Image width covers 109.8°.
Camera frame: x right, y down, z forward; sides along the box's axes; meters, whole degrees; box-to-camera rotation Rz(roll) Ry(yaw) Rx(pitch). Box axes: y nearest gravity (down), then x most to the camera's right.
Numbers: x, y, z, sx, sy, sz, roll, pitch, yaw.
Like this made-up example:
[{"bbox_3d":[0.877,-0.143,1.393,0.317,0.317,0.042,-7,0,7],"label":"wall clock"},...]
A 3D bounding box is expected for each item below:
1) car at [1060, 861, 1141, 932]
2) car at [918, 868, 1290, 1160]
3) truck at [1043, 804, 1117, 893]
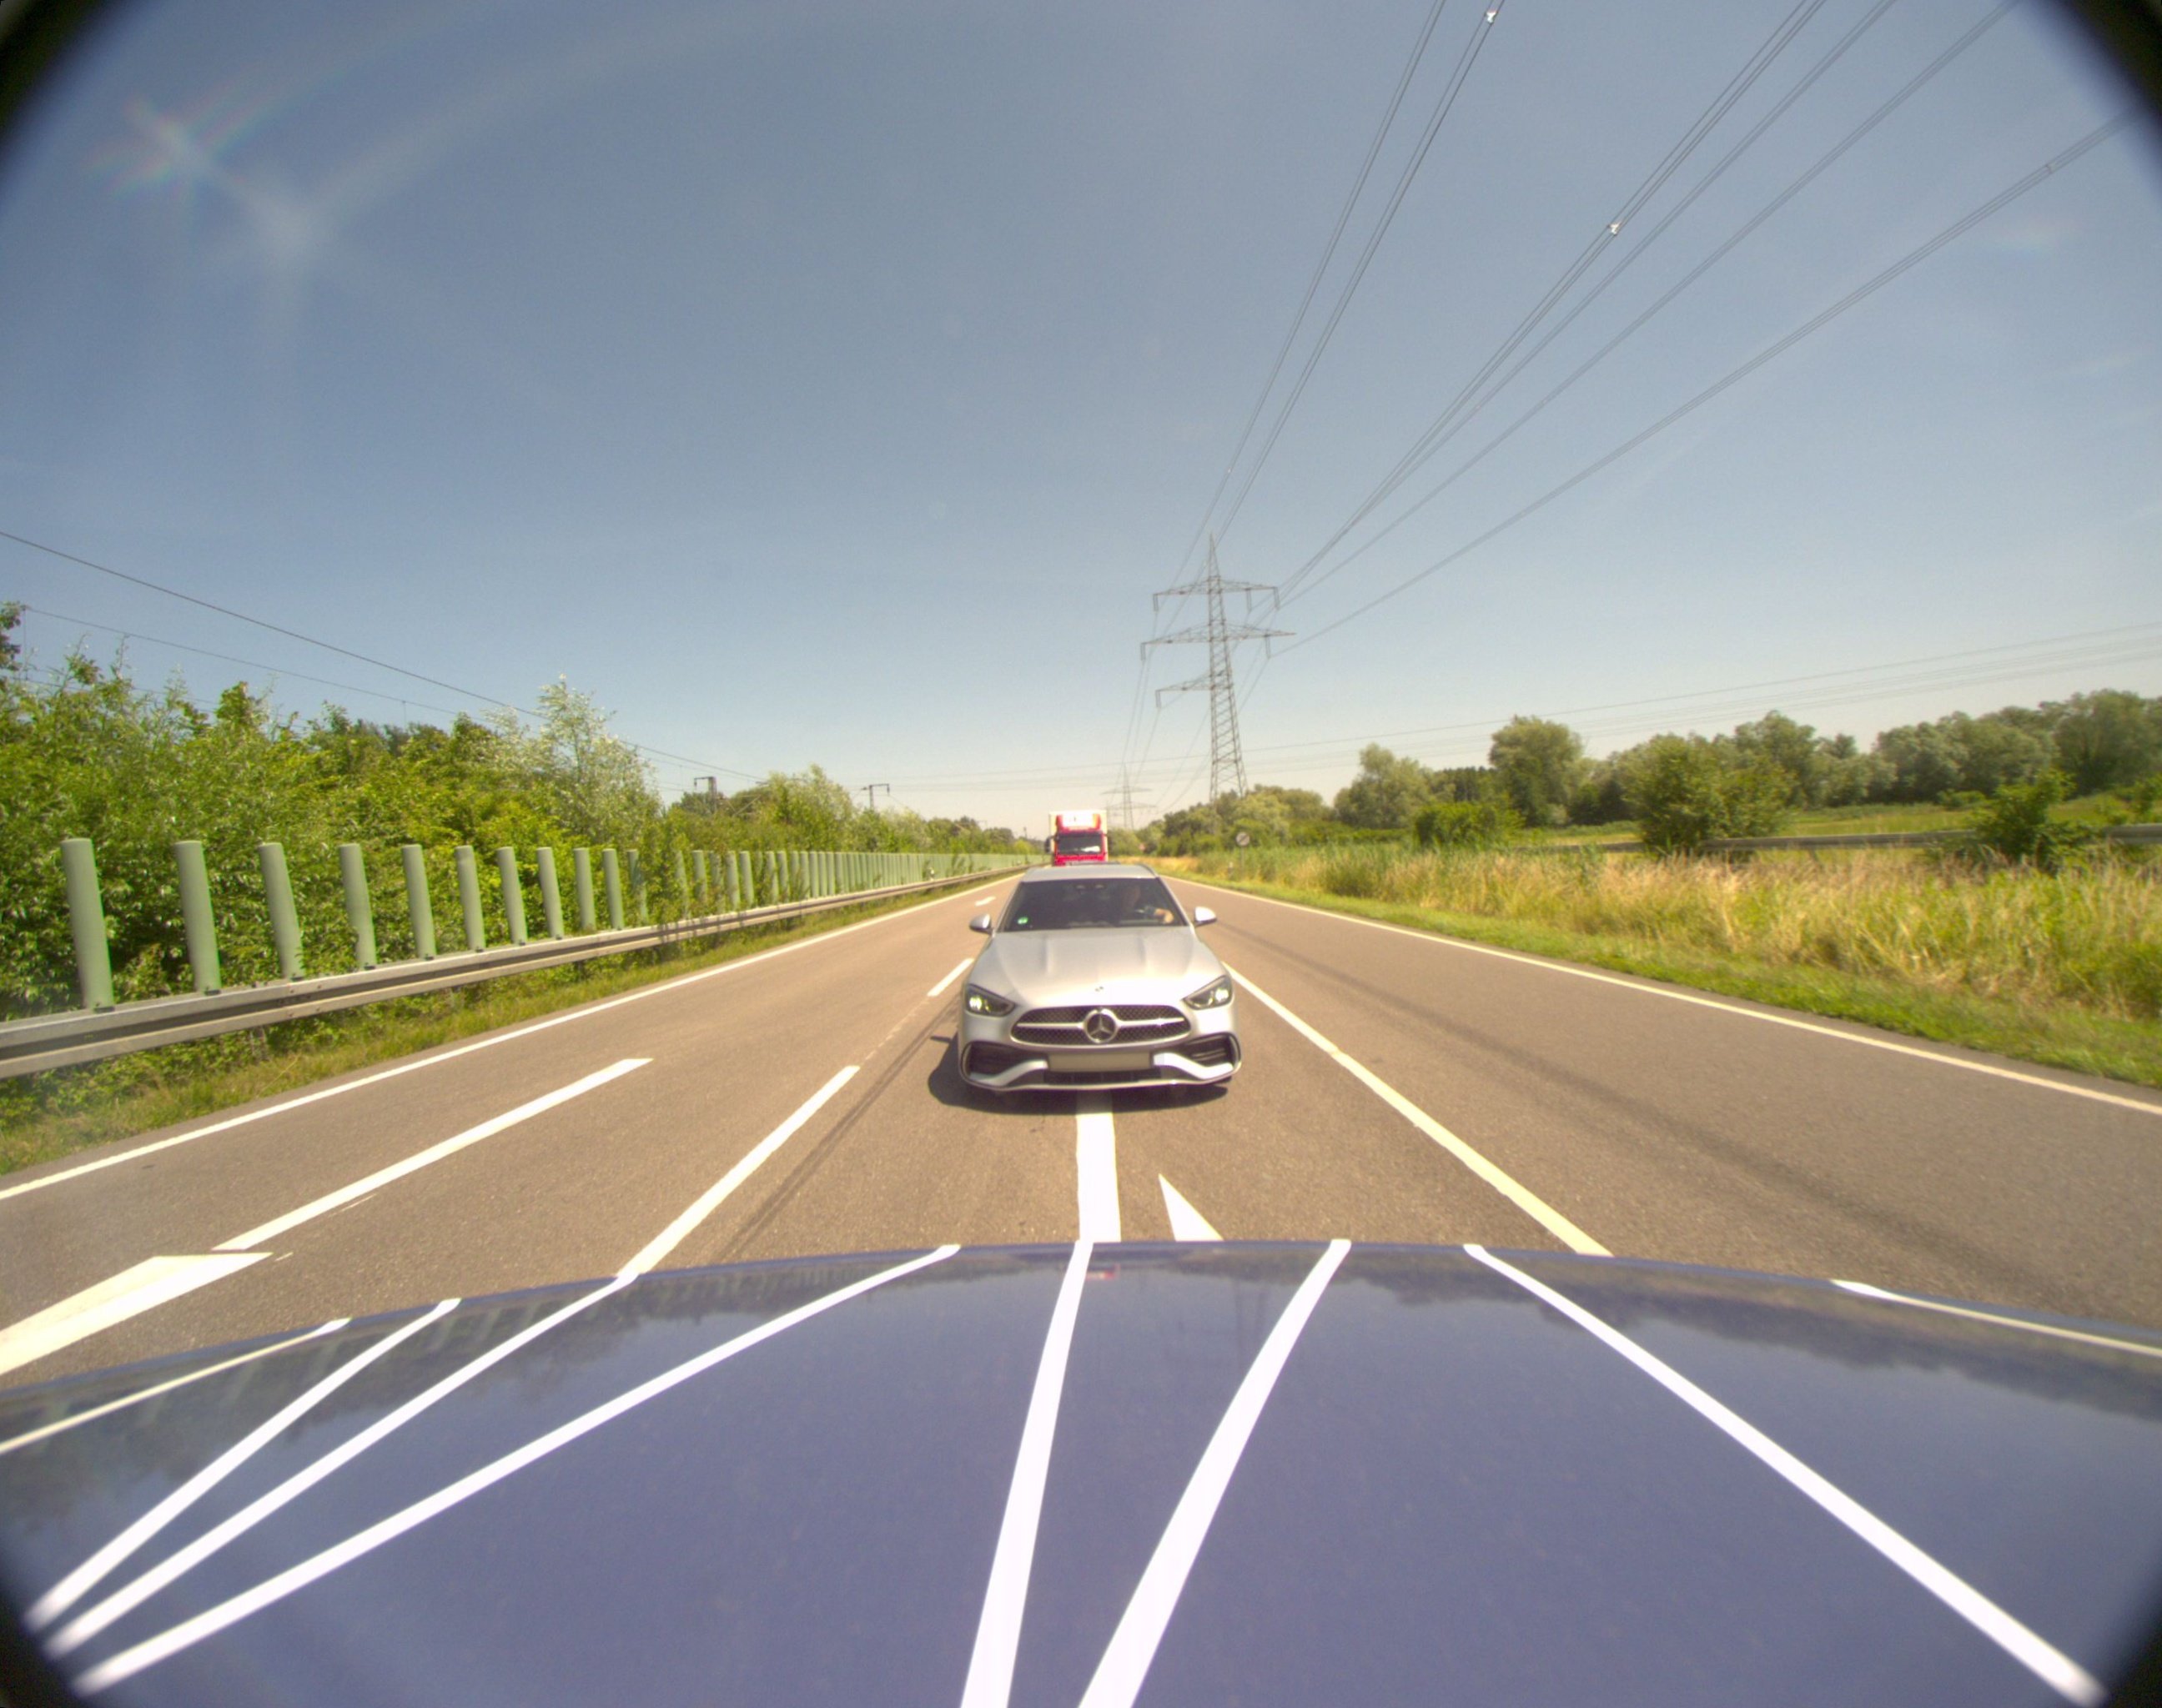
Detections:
[{"bbox_3d":[0.461,0.933,18.528,1.698,1.385,4.467,-2,0,1],"label":"car"},{"bbox_3d":[0.144,0.924,6.404,1.998,1.437,4.467,-2,0,0],"label":"car"},{"bbox_3d":[-0.045,-0.247,36.021,2.907,3.641,7.155,-4,0,0],"label":"truck"}]
